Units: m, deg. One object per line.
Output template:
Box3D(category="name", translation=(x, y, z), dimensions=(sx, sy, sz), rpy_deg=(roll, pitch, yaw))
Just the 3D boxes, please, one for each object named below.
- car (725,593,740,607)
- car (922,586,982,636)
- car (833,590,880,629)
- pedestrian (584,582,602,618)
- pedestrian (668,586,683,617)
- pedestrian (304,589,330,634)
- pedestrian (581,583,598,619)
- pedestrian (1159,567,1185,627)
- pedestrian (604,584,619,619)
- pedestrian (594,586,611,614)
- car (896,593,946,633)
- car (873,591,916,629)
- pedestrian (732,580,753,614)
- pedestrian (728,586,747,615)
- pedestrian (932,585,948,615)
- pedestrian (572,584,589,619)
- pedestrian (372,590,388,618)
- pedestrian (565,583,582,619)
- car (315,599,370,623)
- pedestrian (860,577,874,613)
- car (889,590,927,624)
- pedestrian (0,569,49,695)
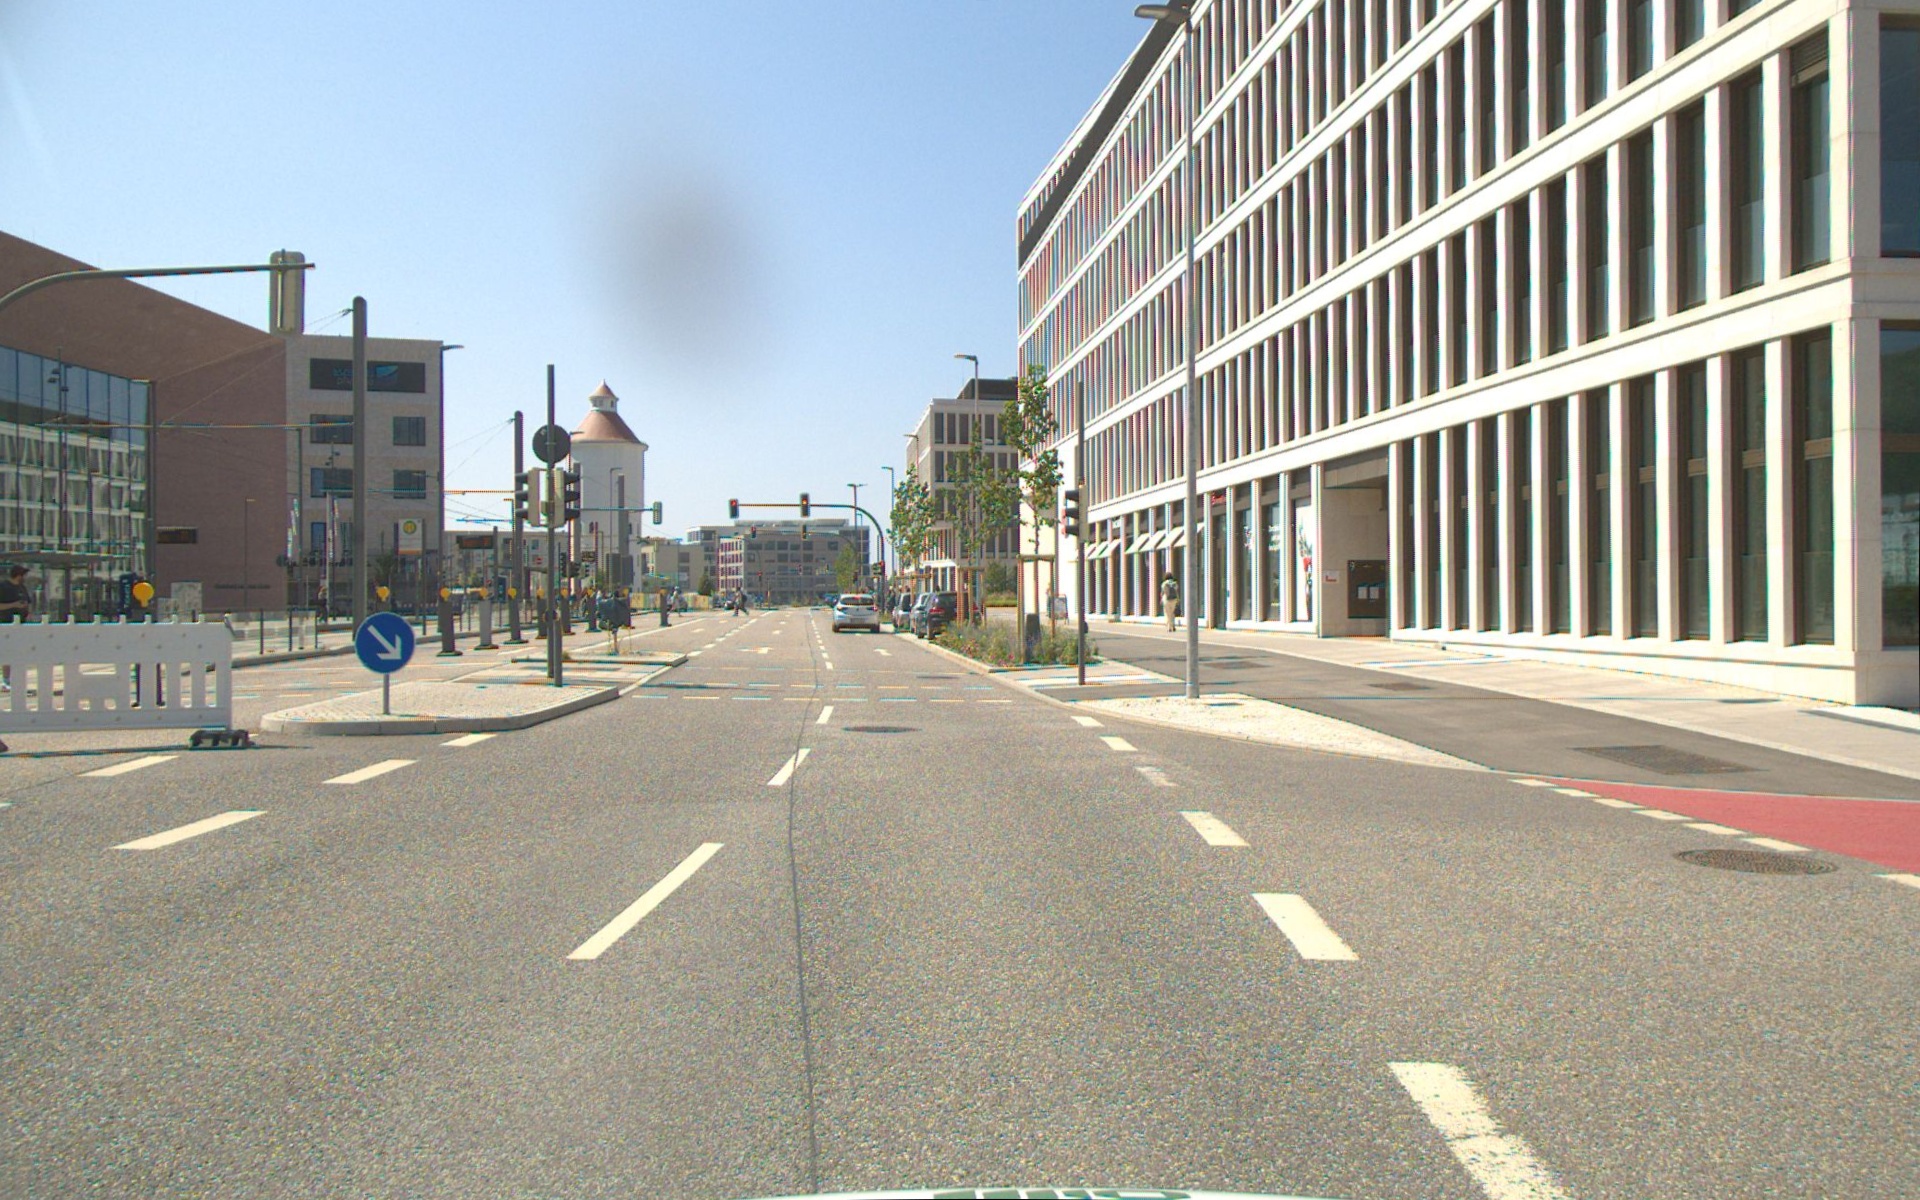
Box3D(category="car", translation=(-25.364, 0.026, 184.376), dimensions=(1.556, 1.557, 3.687), rpy_deg=(0, -1, -7))
Box3D(category="car", translation=(-0.297, 0.345, 52.510), dimensions=(1.702, 1.500, 3.977), rpy_deg=(0, 0, -3))
Box3D(category="car", translation=(-3.981, 0.383, 63.544), dimensions=(1.736, 1.419, 3.529), rpy_deg=(1, -1, -4))
Box3D(category="pedestrian", translation=(-19.671, 0.011, 88.633), dimensions=(0.872, 1.923, 0.690), rpy_deg=(0, 0, -11))
Box3D(category="pedestrian", translation=(-16.345, 0.065, 95.106), dimensions=(0.751, 1.764, 0.691), rpy_deg=(0, 0, -5))
Box3D(category="pedestrian", translation=(-26.638, 0.484, 68.514), dimensions=(0.795, 1.852, 0.824), rpy_deg=(1, 0, -5))
Box3D(category="pedestrian", translation=(-20.130, 0.049, 89.937), dimensions=(0.872, 1.923, 0.690), rpy_deg=(0, 0, -11))
Box3D(category="pedestrian", translation=(6.324, -0.099, 49.380), dimensions=(0.615, 1.773, 0.813), rpy_deg=(0, 0, -6))
Box3D(category="pedestrian", translation=(-19.600, 0.072, 93.074), dimensions=(0.751, 1.923, 0.691), rpy_deg=(0, 0, -5))
Box3D(category="pedestrian", translation=(-21.497, 0.011, 99.407), dimensions=(0.870, 1.675, 0.796), rpy_deg=(0, 0, -2))
Box3D(category="car", translation=(-1.465, 0.453, 60.412), dimensions=(1.574, 1.412, 3.810), rpy_deg=(0, 0, -5))
Box3D(category="car", translation=(-2.699, 0.389, 67.696), dimensions=(1.526, 1.498, 3.466), rpy_deg=(0, 0, -6))
Box3D(category="pedestrian", translation=(-13.036, -0.172, 98.955), dimensions=(1.006, 2.049, 0.947), rpy_deg=(0, 0, -24))
Box3D(category="pedestrian", translation=(-13.185, 0.010, 98.074), dimensions=(0.882, 1.703, 1.006), rpy_deg=(0, 0, -24))
Box3D(category="pedestrian", translation=(-1.119, -0.008, 92.356), dimensions=(0.750, 1.648, 0.692), rpy_deg=(0, 0, 11))
Box3D(category="pedestrian", translation=(-20.800, 0.070, 90.655), dimensions=(0.872, 1.923, 0.690), rpy_deg=(0, 0, -11))
Box3D(category="pedestrian", translation=(-33.572, 0.223, 95.698), dimensions=(0.697, 1.599, 0.889), rpy_deg=(0, 0, -6))
Box3D(category="pedestrian", translation=(-20.753, 0.053, 88.826), dimensions=(0.872, 1.923, 0.690), rpy_deg=(0, 0, -11))
Box3D(category="car", translation=(-48.446, 0.876, 129.804), dimensions=(3.879, 1.848, 1.789), rpy_deg=(1, -1, -18))
Box3D(category="pedestrian", translation=(-5.125, -0.279, 91.292), dimensions=(0.715, 1.923, 0.821), rpy_deg=(0, 0, 0))
Box3D(category="car", translation=(-2.286, 0.293, 72.649), dimensions=(1.402, 1.414, 3.995), rpy_deg=(0, 0, -6))
Box3D(category="pedestrian", translation=(-14.220, 0.474, 24.895), dimensions=(0.639, 1.865, 0.661), rpy_deg=(1, 0, -1))
